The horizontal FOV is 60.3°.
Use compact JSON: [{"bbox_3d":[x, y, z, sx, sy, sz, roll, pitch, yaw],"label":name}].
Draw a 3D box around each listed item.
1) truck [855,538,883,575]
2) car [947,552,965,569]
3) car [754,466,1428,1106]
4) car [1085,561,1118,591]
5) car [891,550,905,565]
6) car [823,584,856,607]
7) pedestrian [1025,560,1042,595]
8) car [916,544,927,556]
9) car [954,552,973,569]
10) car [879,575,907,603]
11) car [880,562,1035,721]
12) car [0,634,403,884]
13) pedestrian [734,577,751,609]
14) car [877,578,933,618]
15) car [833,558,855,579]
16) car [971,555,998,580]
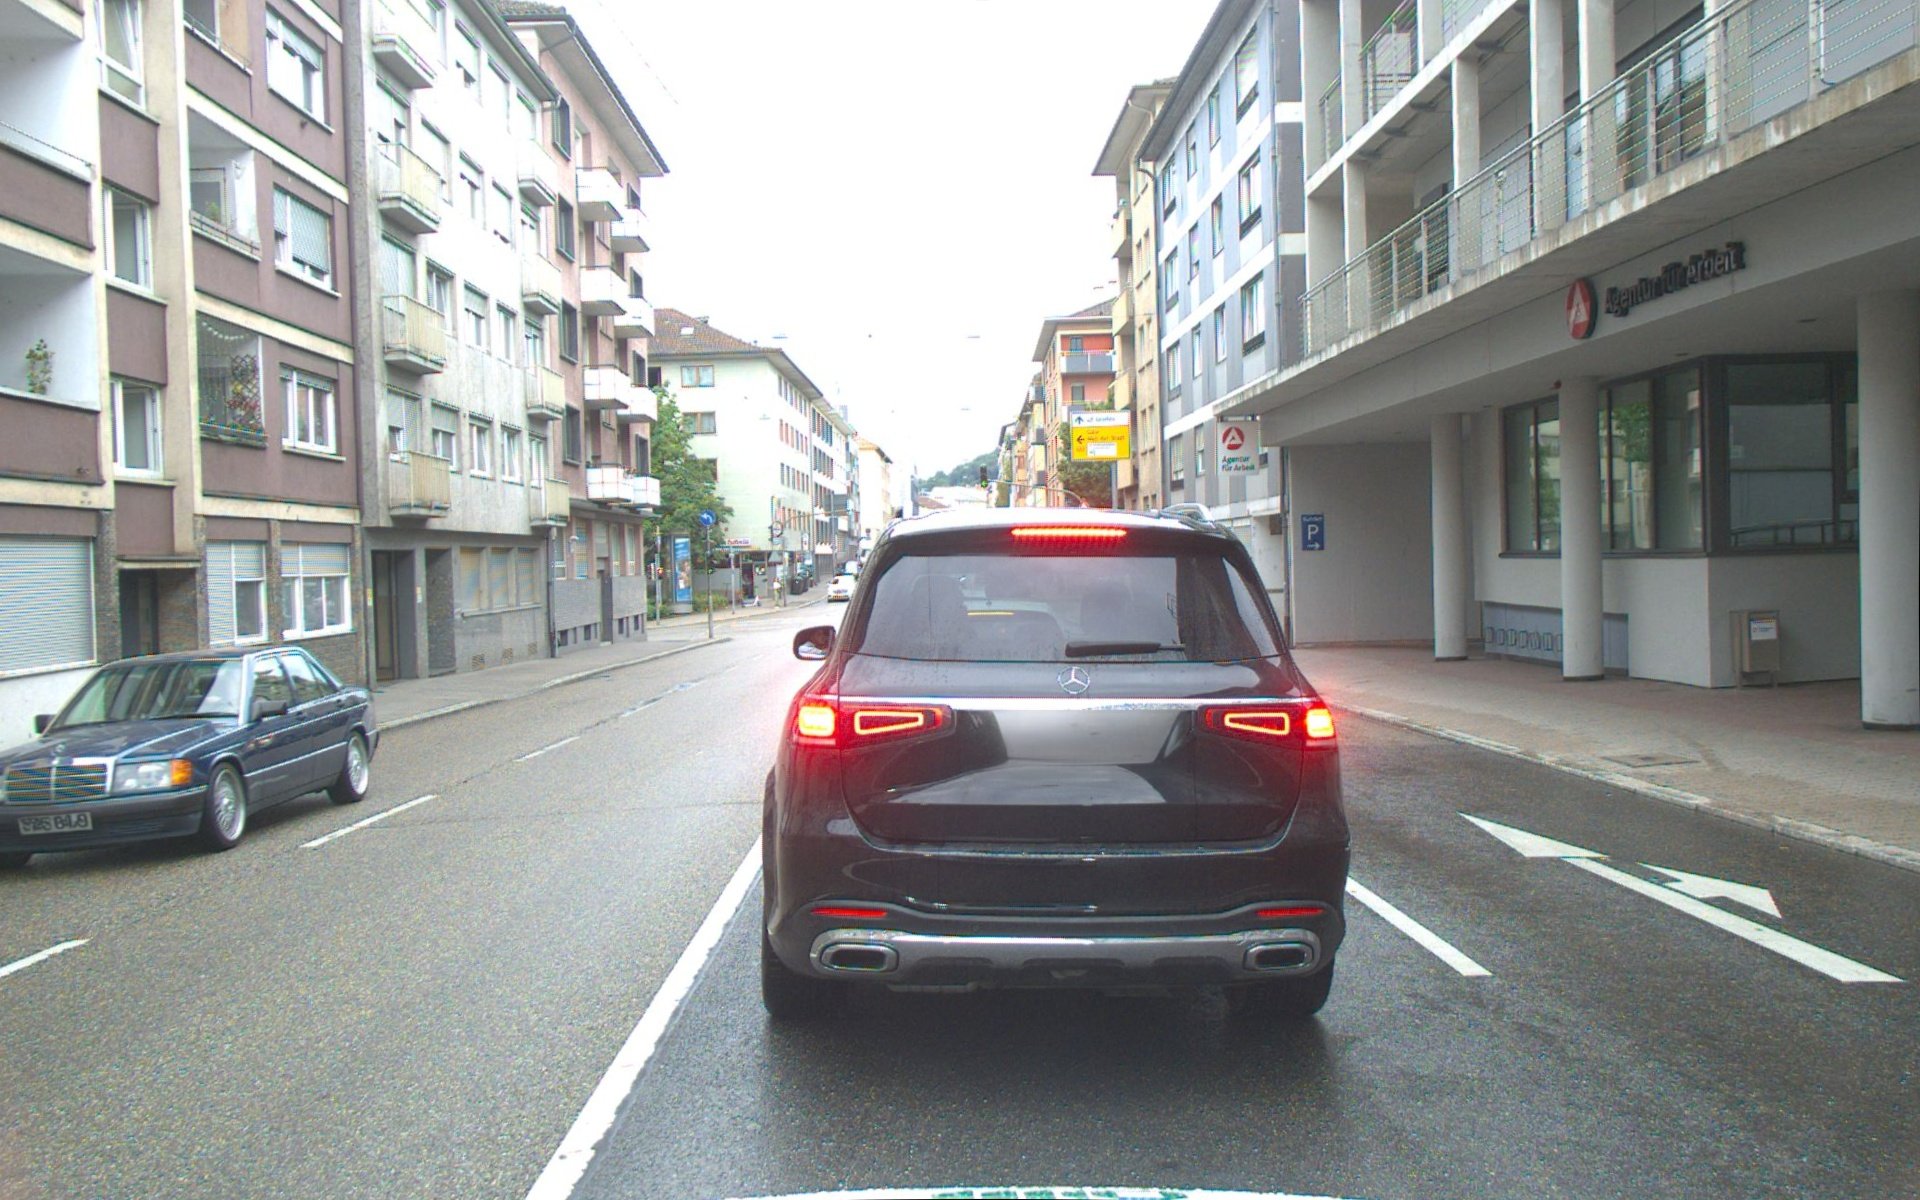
[{"bbox_3d":[-8.597,-4.048,156.941,2.430,3.099,9.914,-3,0,-3],"label":"truck"},{"bbox_3d":[-0.422,-4.181,175.238,1.586,1.566,4.215,-3,0,-3],"label":"car"},{"bbox_3d":[0.356,0.555,7.019,1.944,1.836,4.389,1,0,-1],"label":"car"},{"bbox_3d":[8.096,-1.360,94.754,1.636,1.616,3.331,-2,1,1],"label":"car"},{"bbox_3d":[-7.278,-4.937,193.604,1.586,1.566,4.215,-3,0,-3],"label":"car"},{"bbox_3d":[-7.444,-0.258,102.466,1.848,1.286,4.215,-3,0,-3],"label":"car"},{"bbox_3d":[4.461,-1.351,100.298,0.904,2.049,0.706,-2,0,-3],"label":"pedestrian"},{"bbox_3d":[-5.822,-7.568,250.222,1.586,1.566,4.215,-3,0,-3],"label":"car"},{"bbox_3d":[0.307,-3.862,162.647,1.586,1.411,4.215,-3,0,-3],"label":"car"},{"bbox_3d":[-4.126,-0.645,101.169,1.586,1.566,4.215,-3,0,-3],"label":"car"},{"bbox_3d":[-0.130,0.477,20.826,1.716,1.762,4.215,-1,0,-3],"label":"car"},{"bbox_3d":[-5.763,1.064,12.654,1.566,1.394,4.361,-4,0,-2],"label":"car"},{"bbox_3d":[-13.333,-0.406,101.612,0.904,1.935,0.706,-2,0,-3],"label":"pedestrian"},{"bbox_3d":[-2.416,-0.057,71.529,1.591,1.566,4.203,-3,0,-13],"label":"car"},{"bbox_3d":[-9.208,-2.481,131.489,1.586,1.566,4.215,-3,1,-3],"label":"car"},{"bbox_3d":[1.871,-2.539,126.765,1.689,1.790,4.216,-3,2,-3],"label":"car"}]
